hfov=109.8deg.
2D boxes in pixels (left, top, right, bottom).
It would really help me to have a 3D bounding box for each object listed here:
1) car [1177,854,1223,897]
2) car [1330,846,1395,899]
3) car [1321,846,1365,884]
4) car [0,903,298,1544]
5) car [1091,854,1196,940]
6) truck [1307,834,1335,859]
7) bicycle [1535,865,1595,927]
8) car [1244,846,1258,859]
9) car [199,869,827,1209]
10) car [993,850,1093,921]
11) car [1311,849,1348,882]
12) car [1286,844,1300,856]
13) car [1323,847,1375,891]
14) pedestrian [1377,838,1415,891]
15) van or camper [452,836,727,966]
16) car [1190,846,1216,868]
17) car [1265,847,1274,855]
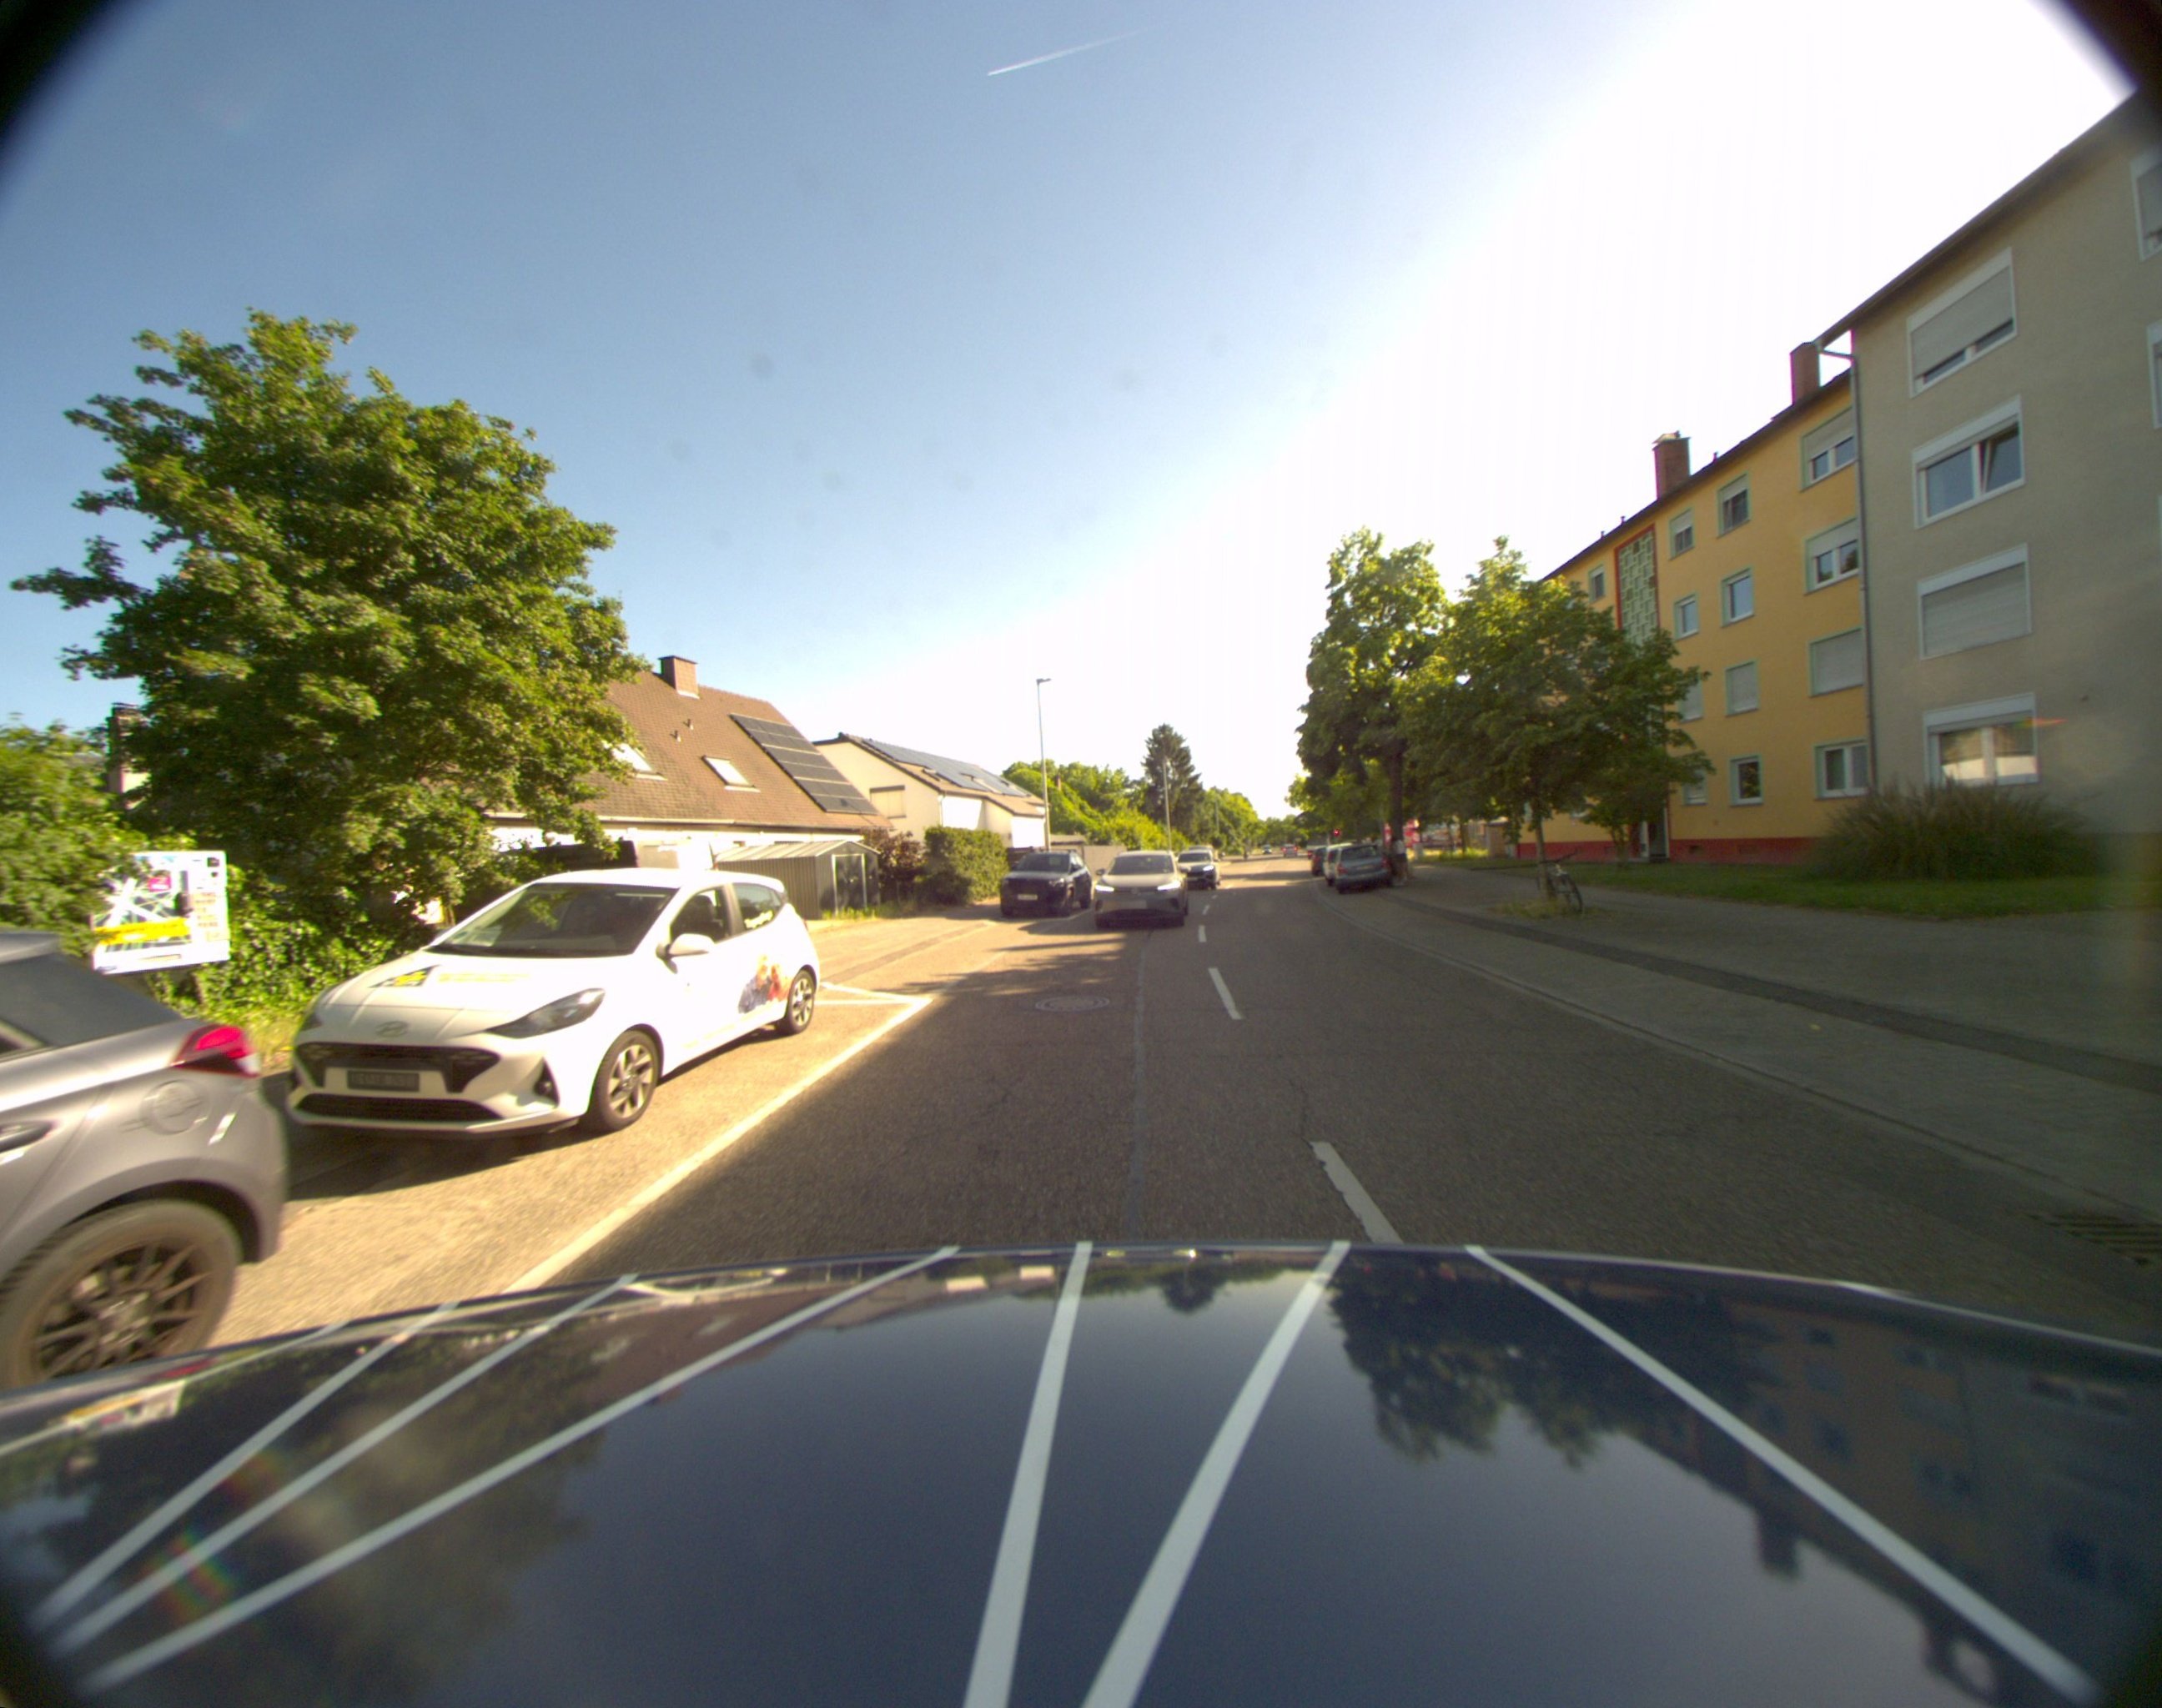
[{"bbox_3d":[4.904,0.823,31.040,1.579,1.568,3.707,-3,0,12],"label":"car"},{"bbox_3d":[9.108,0.553,24.806,1.650,1.530,3.708,-3,0,16],"label":"car"},{"bbox_3d":[11.728,0.472,34.171,1.650,1.530,3.708,-3,0,16],"label":"car"},{"bbox_3d":[-3.627,0.966,0.628,1.723,1.565,4.000,-1,0,2],"label":"car"},{"bbox_3d":[1.499,0.873,16.939,1.776,1.624,3.707,-3,0,12],"label":"car"},{"bbox_3d":[24.239,-0.781,76.716,2.410,2.353,4.531,-3,0,20],"label":"truck"},{"bbox_3d":[8.357,0.704,13.163,0.358,1.001,1.200,-4,-1,8],"label":"bicycle"},{"bbox_3d":[21.055,-0.193,94.263,1.639,1.568,3.707,-3,0,12],"label":"car"},{"bbox_3d":[-3.407,0.940,5.558,1.636,1.565,3.705,-1,0,4],"label":"car"},{"bbox_3d":[-0.921,0.760,20.506,1.775,1.727,3.707,-1,0,12],"label":"car"},{"bbox_3d":[12.711,0.533,39.033,1.650,1.530,3.708,-3,0,16],"label":"car"},{"bbox_3d":[28.080,-0.501,100.840,1.545,1.456,3.707,-3,0,12],"label":"car"},{"bbox_3d":[10.336,0.549,29.527,1.650,1.530,3.708,-3,0,16],"label":"car"},{"bbox_3d":[10.046,0.341,24.228,0.959,1.619,0.734,-3,1,29],"label":"pedestrian"},{"bbox_3d":[-8.589,0.800,13.380,3.845,2.002,1.953,-3,0,18],"label":"van or camper"},{"bbox_3d":[9.392,0.243,58.271,1.639,1.568,3.707,-3,0,12],"label":"car"},{"bbox_3d":[38.513,-0.620,155.377,1.545,1.456,3.707,-3,0,12],"label":"car"}]
